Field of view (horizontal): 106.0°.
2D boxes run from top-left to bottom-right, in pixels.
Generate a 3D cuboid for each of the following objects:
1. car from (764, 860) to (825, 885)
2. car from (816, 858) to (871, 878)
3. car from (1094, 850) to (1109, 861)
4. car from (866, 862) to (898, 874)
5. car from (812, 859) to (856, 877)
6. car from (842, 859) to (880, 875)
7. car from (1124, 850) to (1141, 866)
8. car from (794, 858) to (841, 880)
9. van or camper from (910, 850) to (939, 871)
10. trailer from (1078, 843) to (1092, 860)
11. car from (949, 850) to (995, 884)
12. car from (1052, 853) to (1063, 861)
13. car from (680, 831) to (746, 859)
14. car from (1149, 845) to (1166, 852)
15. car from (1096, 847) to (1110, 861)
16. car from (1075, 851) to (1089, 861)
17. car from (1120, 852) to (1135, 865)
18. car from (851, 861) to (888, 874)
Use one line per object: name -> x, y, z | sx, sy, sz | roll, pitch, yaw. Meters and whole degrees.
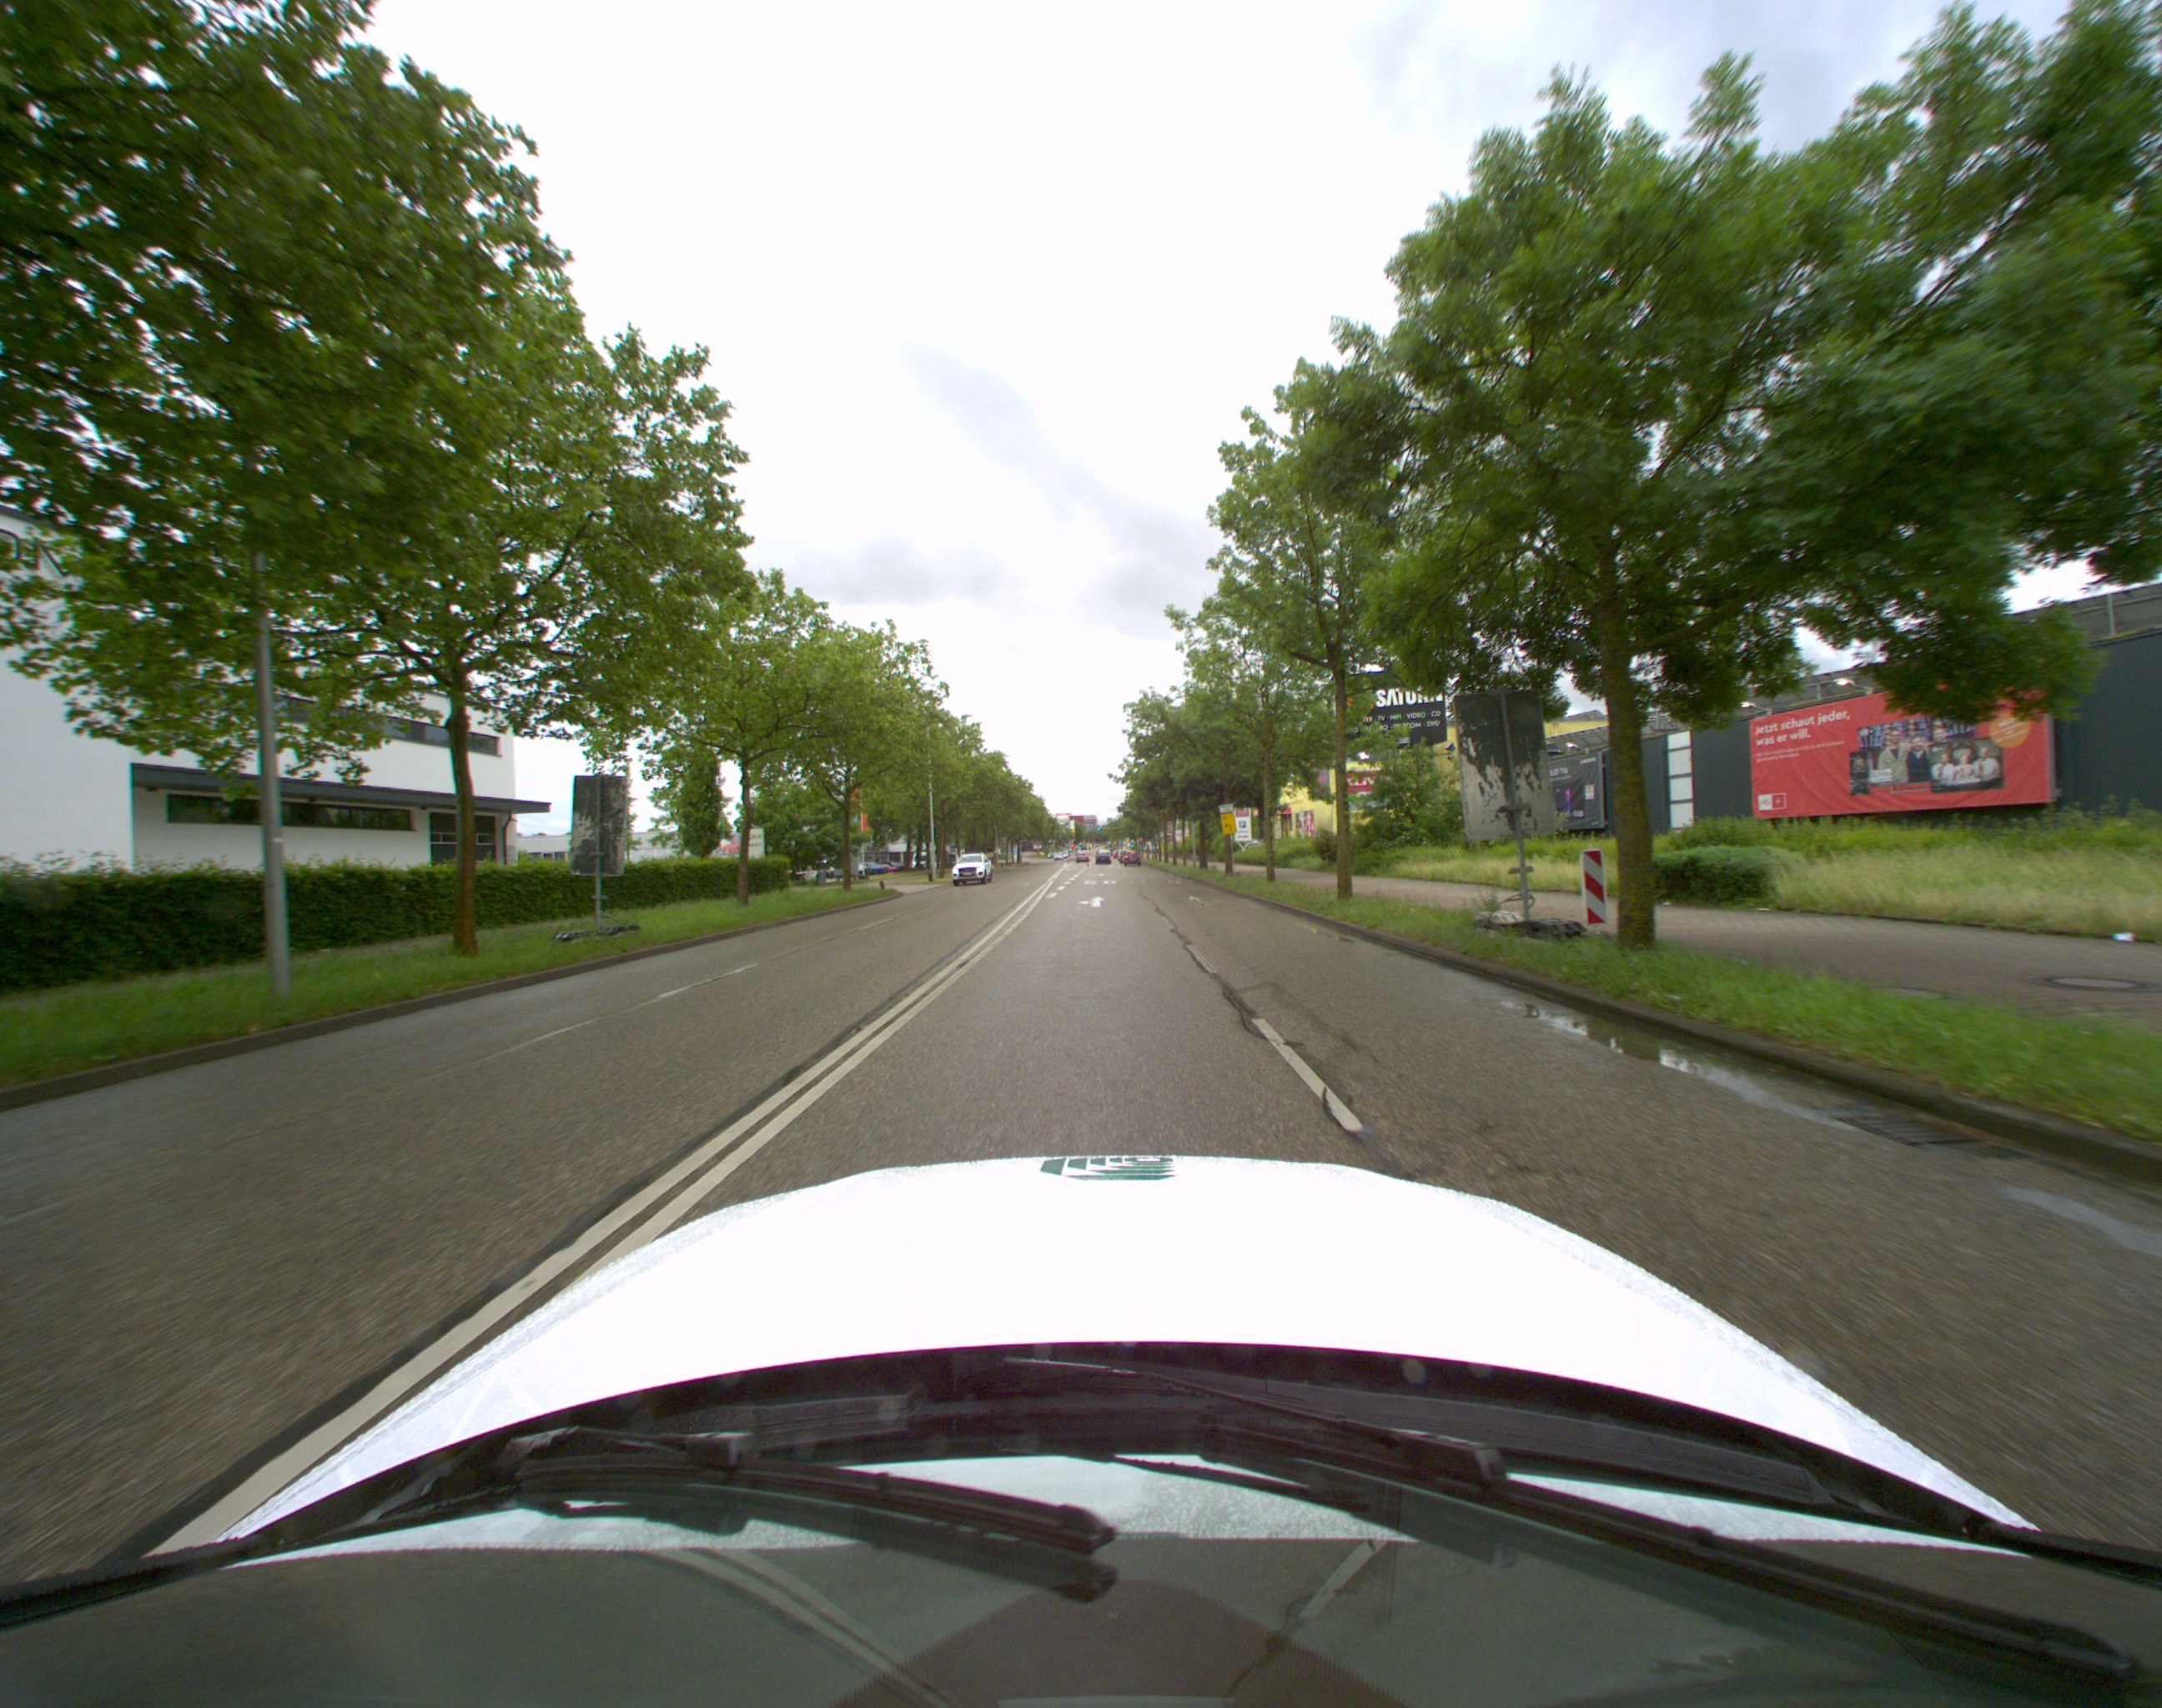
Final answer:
car -> -18.927, 1.192, 54.152 | 2.111, 1.496, 5.247 | -2, 0, 0
car -> -26.211, 1.540, 90.042 | 5.362, 1.903, 2.414 | -2, 0, -3
car -> 2.557, 0.197, 103.661 | 1.775, 1.398, 4.000 | -1, 0, 1
car -> -27.900, 1.975, 114.146 | 3.959, 1.467, 1.605 | -2, 0, 13
car -> -26.195, 1.497, 86.405 | 3.976, 1.766, 1.881 | -2, 0, -2
car -> -26.660, 1.627, 98.738 | 3.956, 1.766, 1.873 | -2, 0, 16
car -> 5.675, 0.398, 90.121 | 1.720, 1.624, 4.472 | -2, 0, 1
car -> -25.962, 1.440, 80.295 | 3.976, 2.013, 1.881 | -2, 0, -2
van or camper -> -19.040, 0.786, 99.344 | 1.986, 2.470, 6.404 | -1, 0, 2
trailer -> 0.655, -0.465, 141.918 | 2.365, 2.897, 5.545 | -3, 0, 0
car -> -6.421, 0.729, 48.537 | 1.905, 1.805, 5.340 | -3, 0, 0
car -> -4.581, 0.527, 158.234 | 1.990, 1.429, 4.679 | -3, 0, -4
car -> -27.258, -0.681, 60.411 | 3.972, 1.889, 1.964 | -2, 0, 2
car -> 18.863, -1.448, 201.650 | 1.907, 1.576, 4.315 | -2, 1, 42
car -> 3.247, 0.008, 120.023 | 1.986, 2.014, 4.001 | 0, -1, 1
car -> 0.166, 0.292, 126.924 | 1.900, 1.578, 4.882 | -3, 0, 1
car -> 6.227, 0.597, 109.363 | 1.794, 1.587, 4.452 | 0, 1, 2
car -> -26.343, 1.659, 101.345 | 3.957, 1.520, 1.873 | -2, 0, 15
